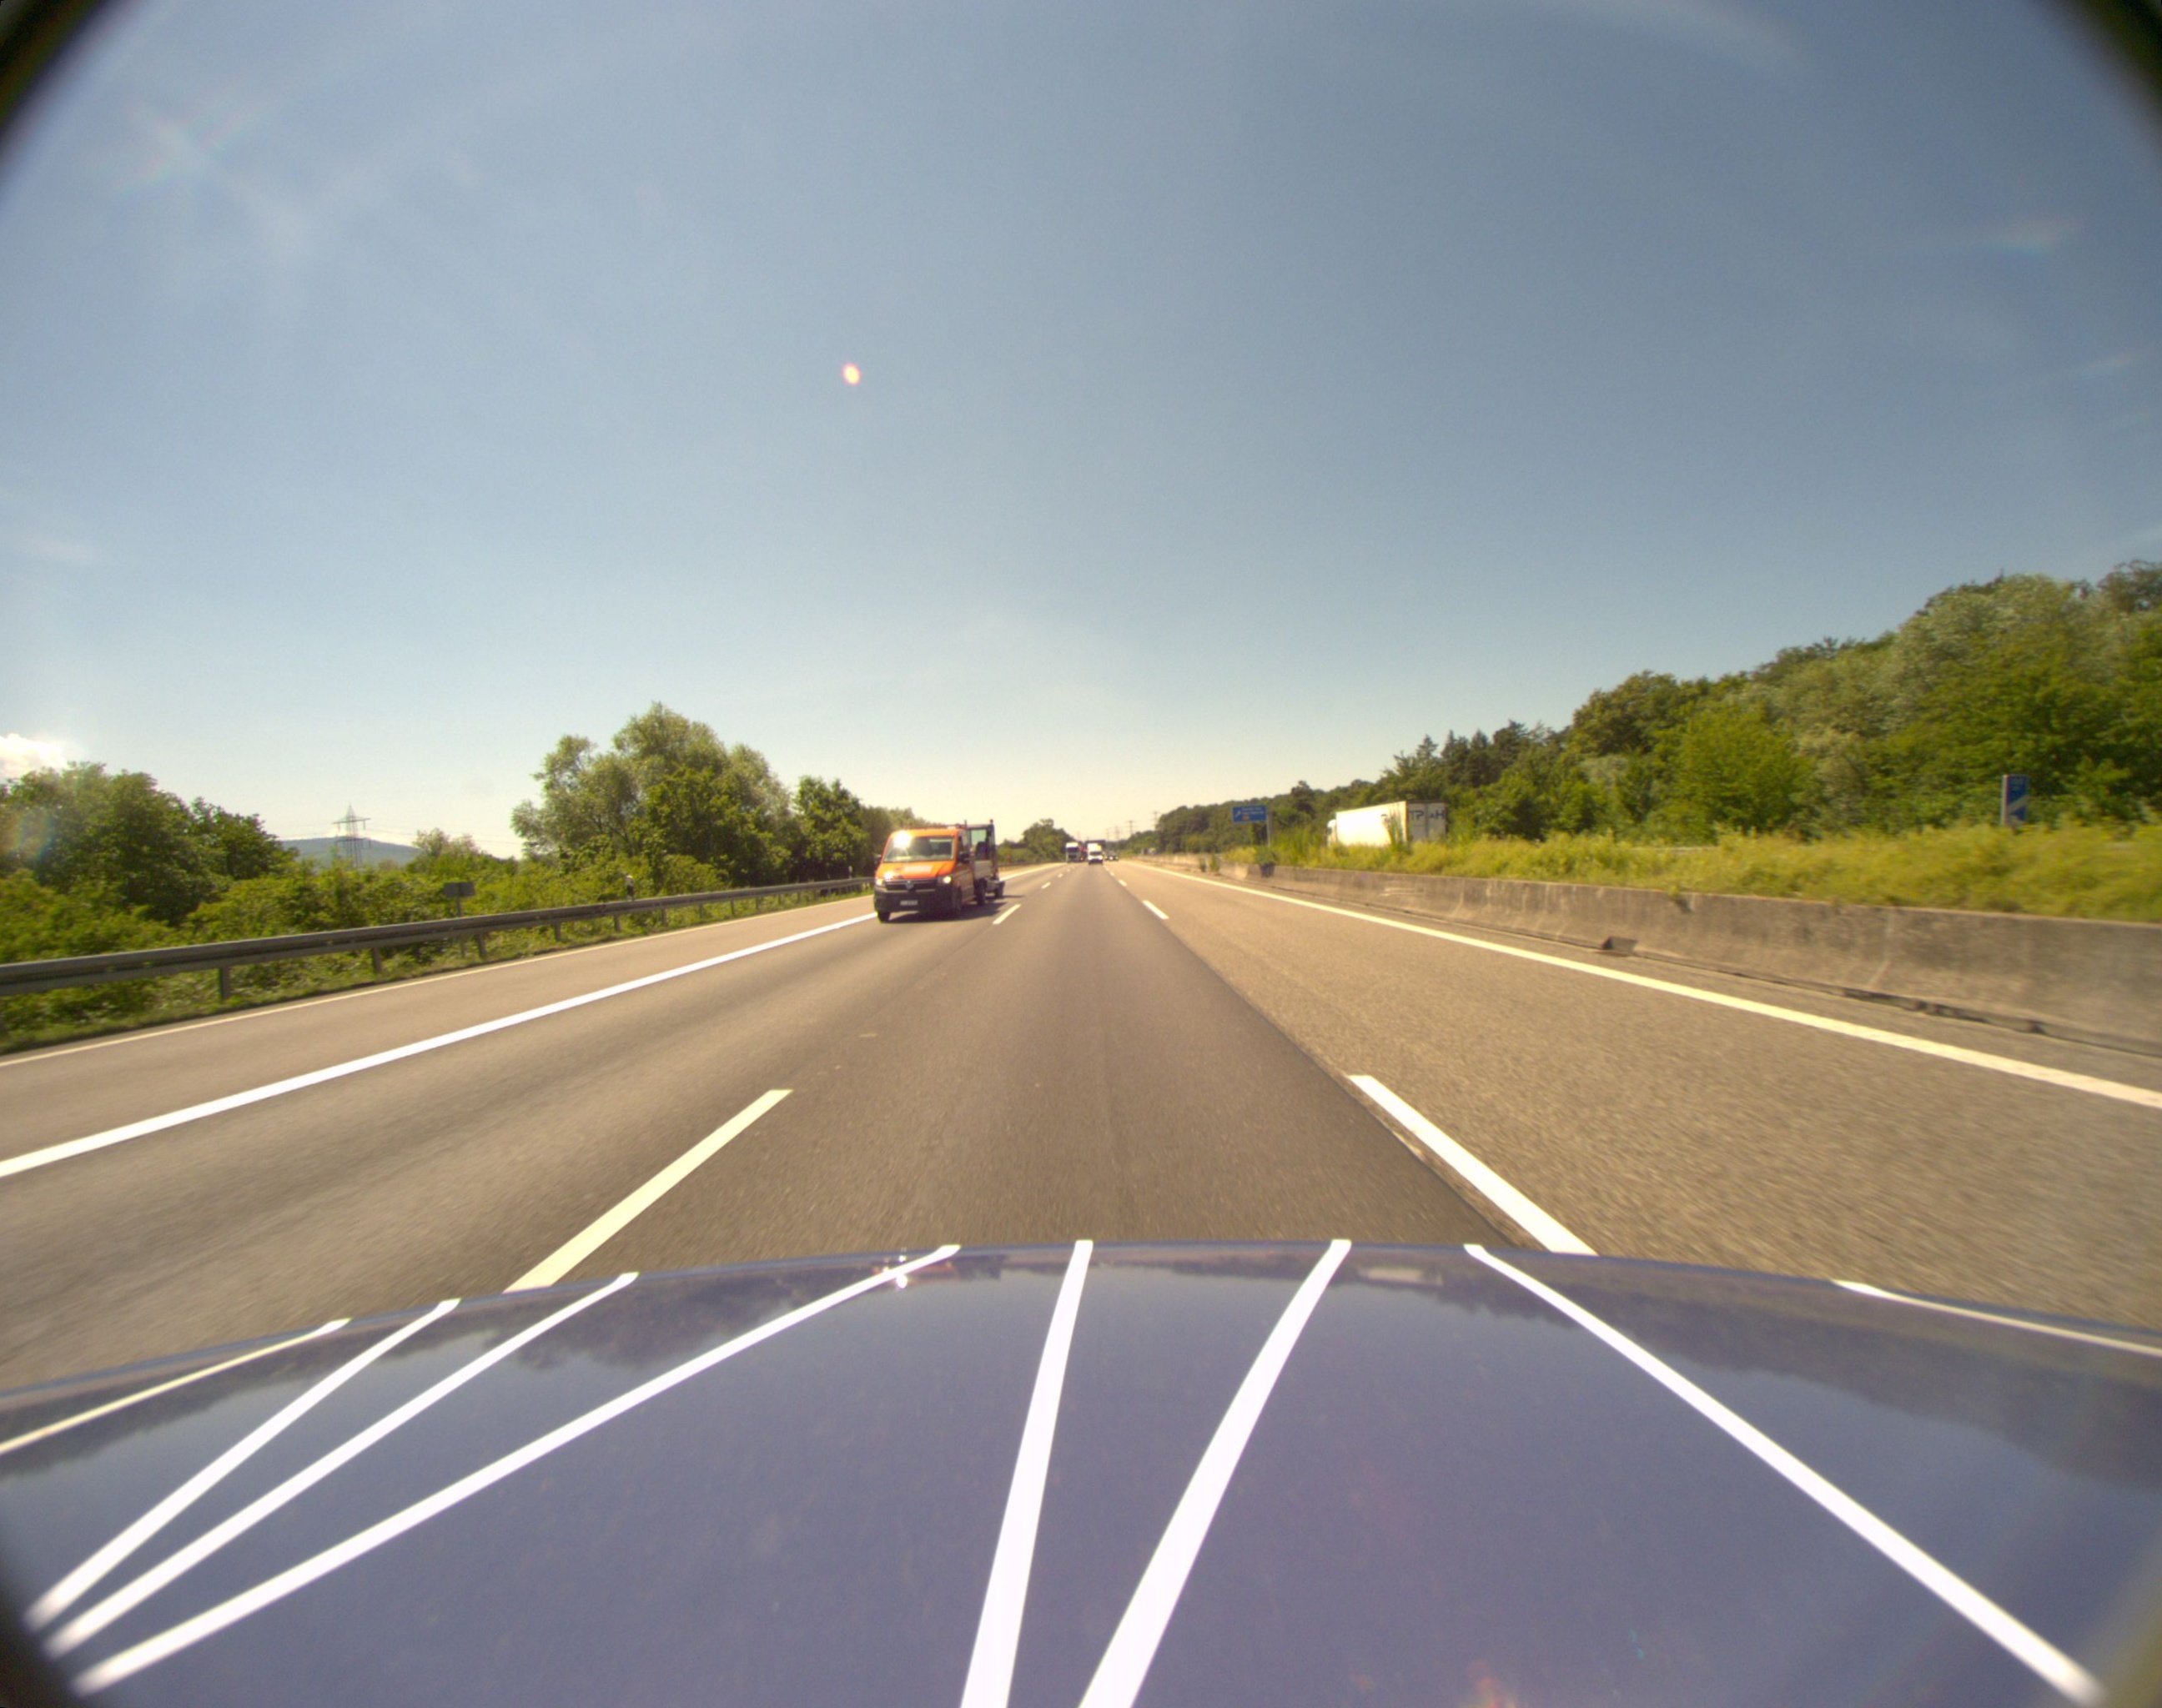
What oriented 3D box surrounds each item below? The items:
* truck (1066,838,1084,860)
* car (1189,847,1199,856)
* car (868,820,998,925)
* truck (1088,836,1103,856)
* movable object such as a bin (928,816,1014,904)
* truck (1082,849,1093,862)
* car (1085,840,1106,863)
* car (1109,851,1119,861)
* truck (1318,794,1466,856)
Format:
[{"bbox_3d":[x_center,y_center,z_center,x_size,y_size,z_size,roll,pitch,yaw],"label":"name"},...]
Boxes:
[{"bbox_3d":[-1.237,-1.033,155.829,2.990,4.187,7.594,-3,0,2],"label":"truck"},{"bbox_3d":[29.082,-0.651,195.597,1.998,2.002,4.429,-2,0,3],"label":"car"},{"bbox_3d":[-3.901,0.431,21.568,1.998,2.391,7.226,-3,0,1],"label":"car"},{"bbox_3d":[3.275,-1.716,170.378,2.700,4.231,8.244,-5,0,2],"label":"truck"},{"bbox_3d":[-3.861,0.194,27.504,2.179,2.799,4.761,-3,0,1],"label":"movable object such as a bin"},{"bbox_3d":[2.046,0.538,239.523,2.852,3.747,6.496,-5,0,1],"label":"truck"},{"bbox_3d":[2.095,-0.331,106.039,2.521,2.857,6.401,-5,0,2],"label":"car"},{"bbox_3d":[7.021,0.359,161.214,1.998,2.002,4.000,-2,0,2],"label":"car"},{"bbox_3d":[22.030,-1.816,55.904,3.607,3.713,17.483,-2,0,0],"label":"truck"}]
